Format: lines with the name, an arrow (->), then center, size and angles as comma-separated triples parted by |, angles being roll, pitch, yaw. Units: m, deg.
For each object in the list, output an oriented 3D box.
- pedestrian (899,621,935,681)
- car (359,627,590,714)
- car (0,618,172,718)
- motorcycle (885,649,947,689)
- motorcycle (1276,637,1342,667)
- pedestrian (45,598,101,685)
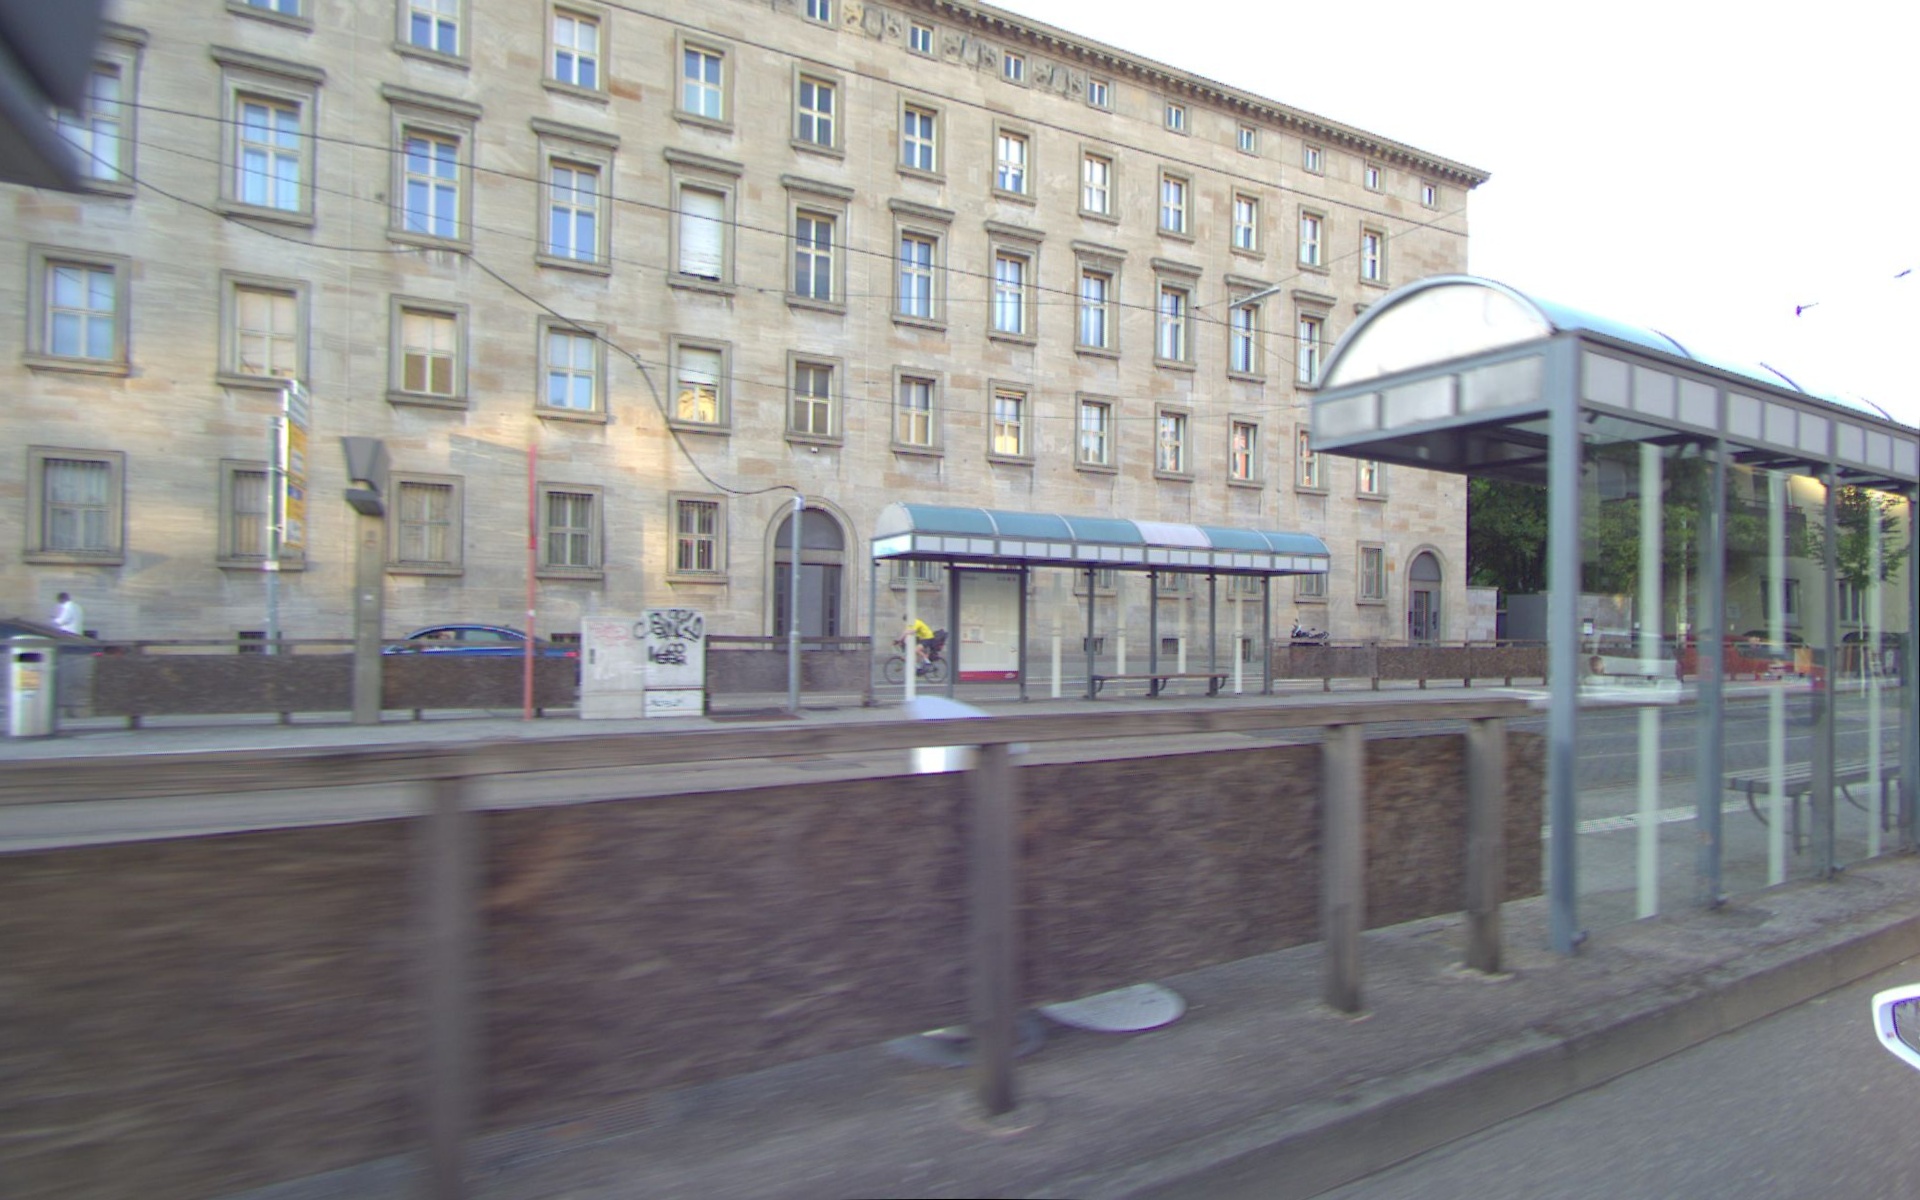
pedestrian -> -1.068, 1.267, 25.173 | 0.766, 1.490, 0.471 | 1, -1, -27
car -> -8.874, 1.253, 18.546 | 3.657, 1.446, 1.637 | 1, -1, -27
car -> -14.733, 0.990, 15.159 | 4.178, 1.446, 1.637 | 1, -1, -27
motorcycle -> -1.104, 1.717, 25.147 | 1.491, 0.940, 0.475 | 1, -1, -27
motorcycle -> 12.850, 1.913, 36.993 | 2.620, 1.089, 0.696 | 2, -2, -27
pedestrian -> -18.107, 0.844, 20.513 | 0.637, 1.732, 0.694 | 1, -1, -24
